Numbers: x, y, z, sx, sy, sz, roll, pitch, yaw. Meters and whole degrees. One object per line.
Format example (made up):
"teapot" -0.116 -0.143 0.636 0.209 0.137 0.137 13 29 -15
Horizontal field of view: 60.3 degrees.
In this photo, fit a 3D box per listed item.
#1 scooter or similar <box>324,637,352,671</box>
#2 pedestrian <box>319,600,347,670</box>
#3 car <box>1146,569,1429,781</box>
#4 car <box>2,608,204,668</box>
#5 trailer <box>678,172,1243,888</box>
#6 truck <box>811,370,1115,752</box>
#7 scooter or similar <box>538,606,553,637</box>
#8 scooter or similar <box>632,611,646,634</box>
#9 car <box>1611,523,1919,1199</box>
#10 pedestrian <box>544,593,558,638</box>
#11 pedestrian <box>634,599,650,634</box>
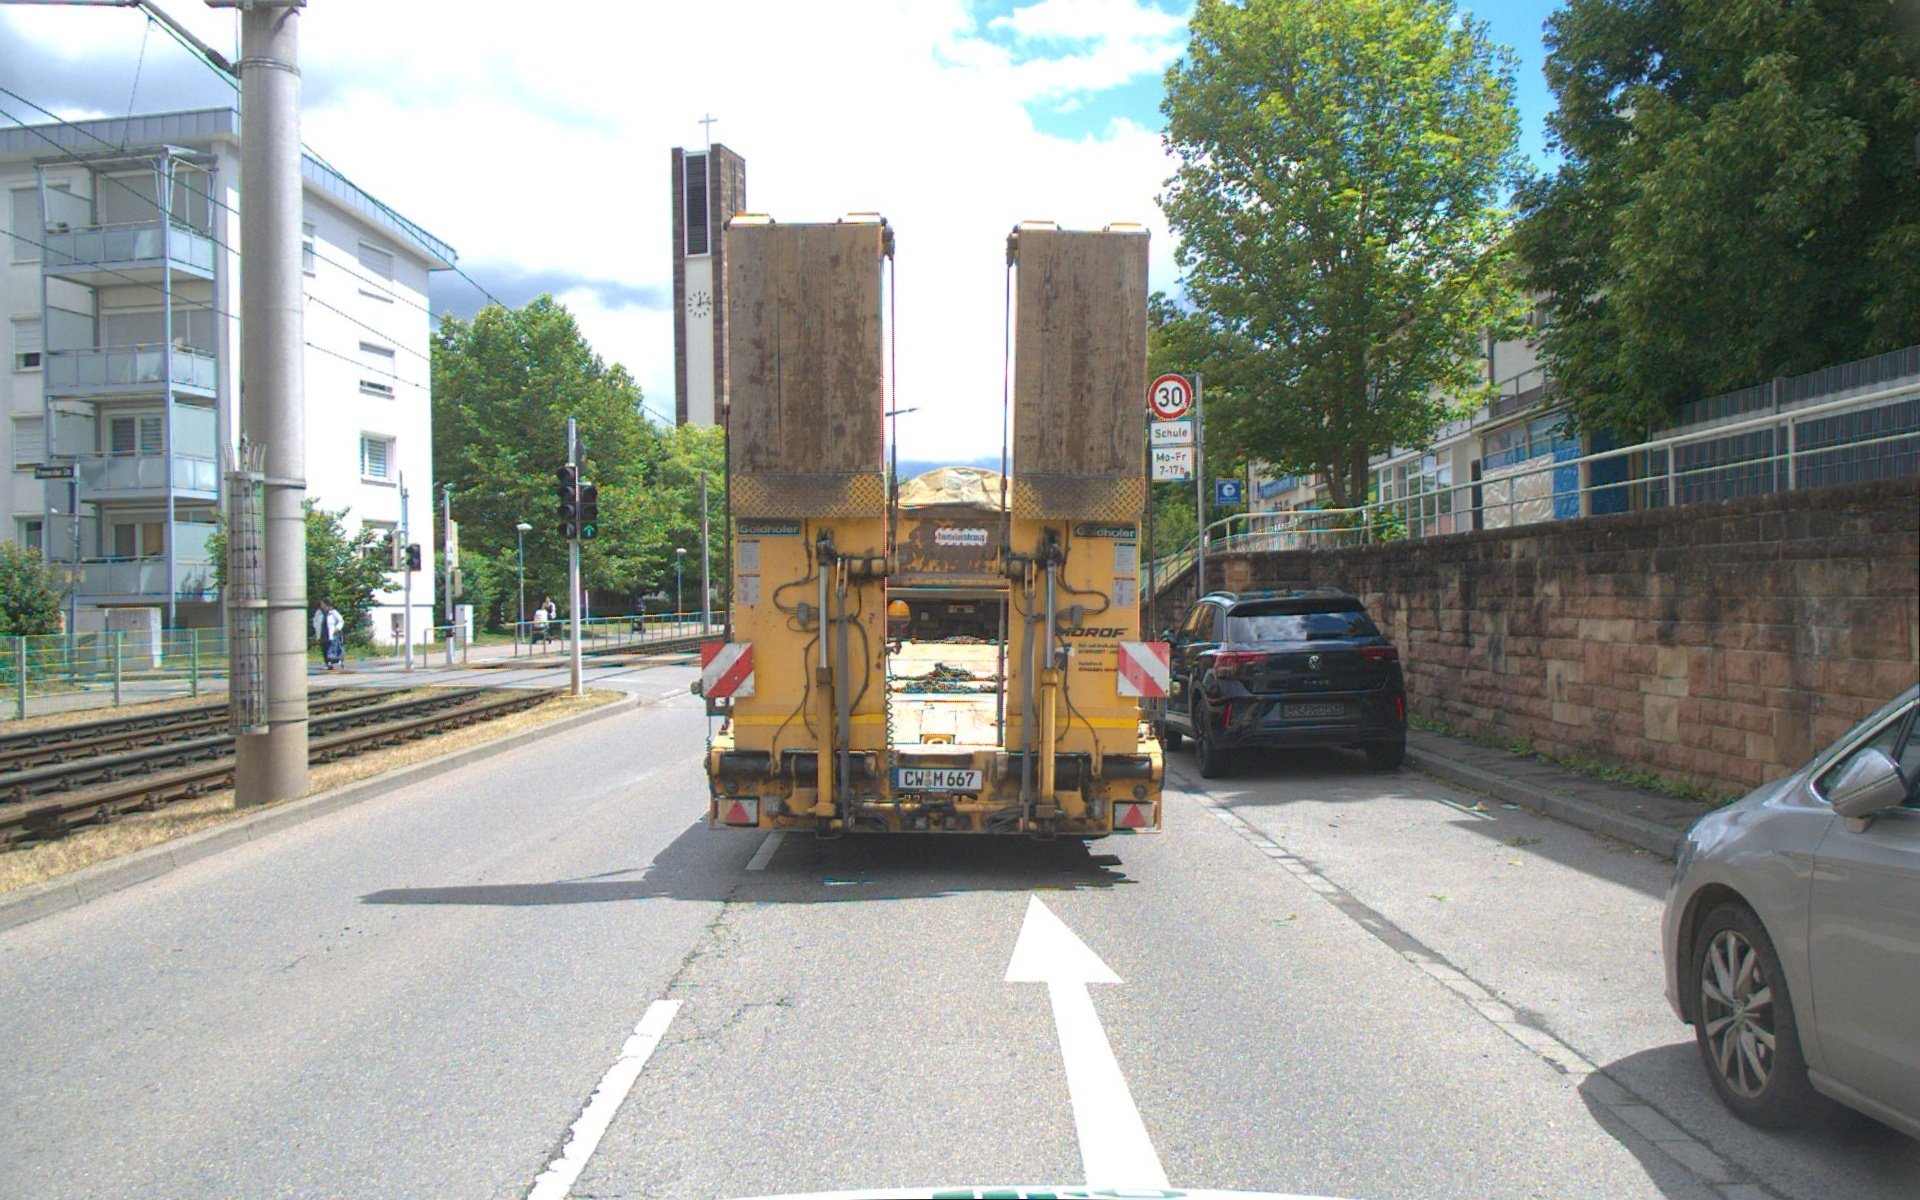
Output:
"scooter or similar" -14.216 1.229 37.797 0.428 0.760 0.475 -1 0 4
"pedestrian" -14.442 0.797 38.115 0.428 1.608 0.475 -1 0 4
"car" 2.899 0.611 15.486 1.813 1.668 4.000 -2 0 0
"car" -20.608 0.901 39.847 3.902 1.369 1.902 -1 0 7
"trailer" 0.014 -0.371 12.871 2.885 3.664 8.683 -1 0 0
"truck" 0.032 -0.379 18.315 2.882 3.635 4.876 -1 0 0
"scooter or similar" -14.340 0.745 57.229 0.331 1.076 0.688 -1 0 3
"scooter or similar" -14.382 1.016 74.066 0.495 0.988 0.645 1 0 -2
"car" 3.153 0.614 3.474 1.754 1.646 4.247 -2 0 -2
"pedestrian" -14.307 0.548 57.863 0.341 1.564 0.557 -1 0 3
"pedestrian" -14.369 0.748 74.720 0.552 1.540 0.645 1 0 -2
